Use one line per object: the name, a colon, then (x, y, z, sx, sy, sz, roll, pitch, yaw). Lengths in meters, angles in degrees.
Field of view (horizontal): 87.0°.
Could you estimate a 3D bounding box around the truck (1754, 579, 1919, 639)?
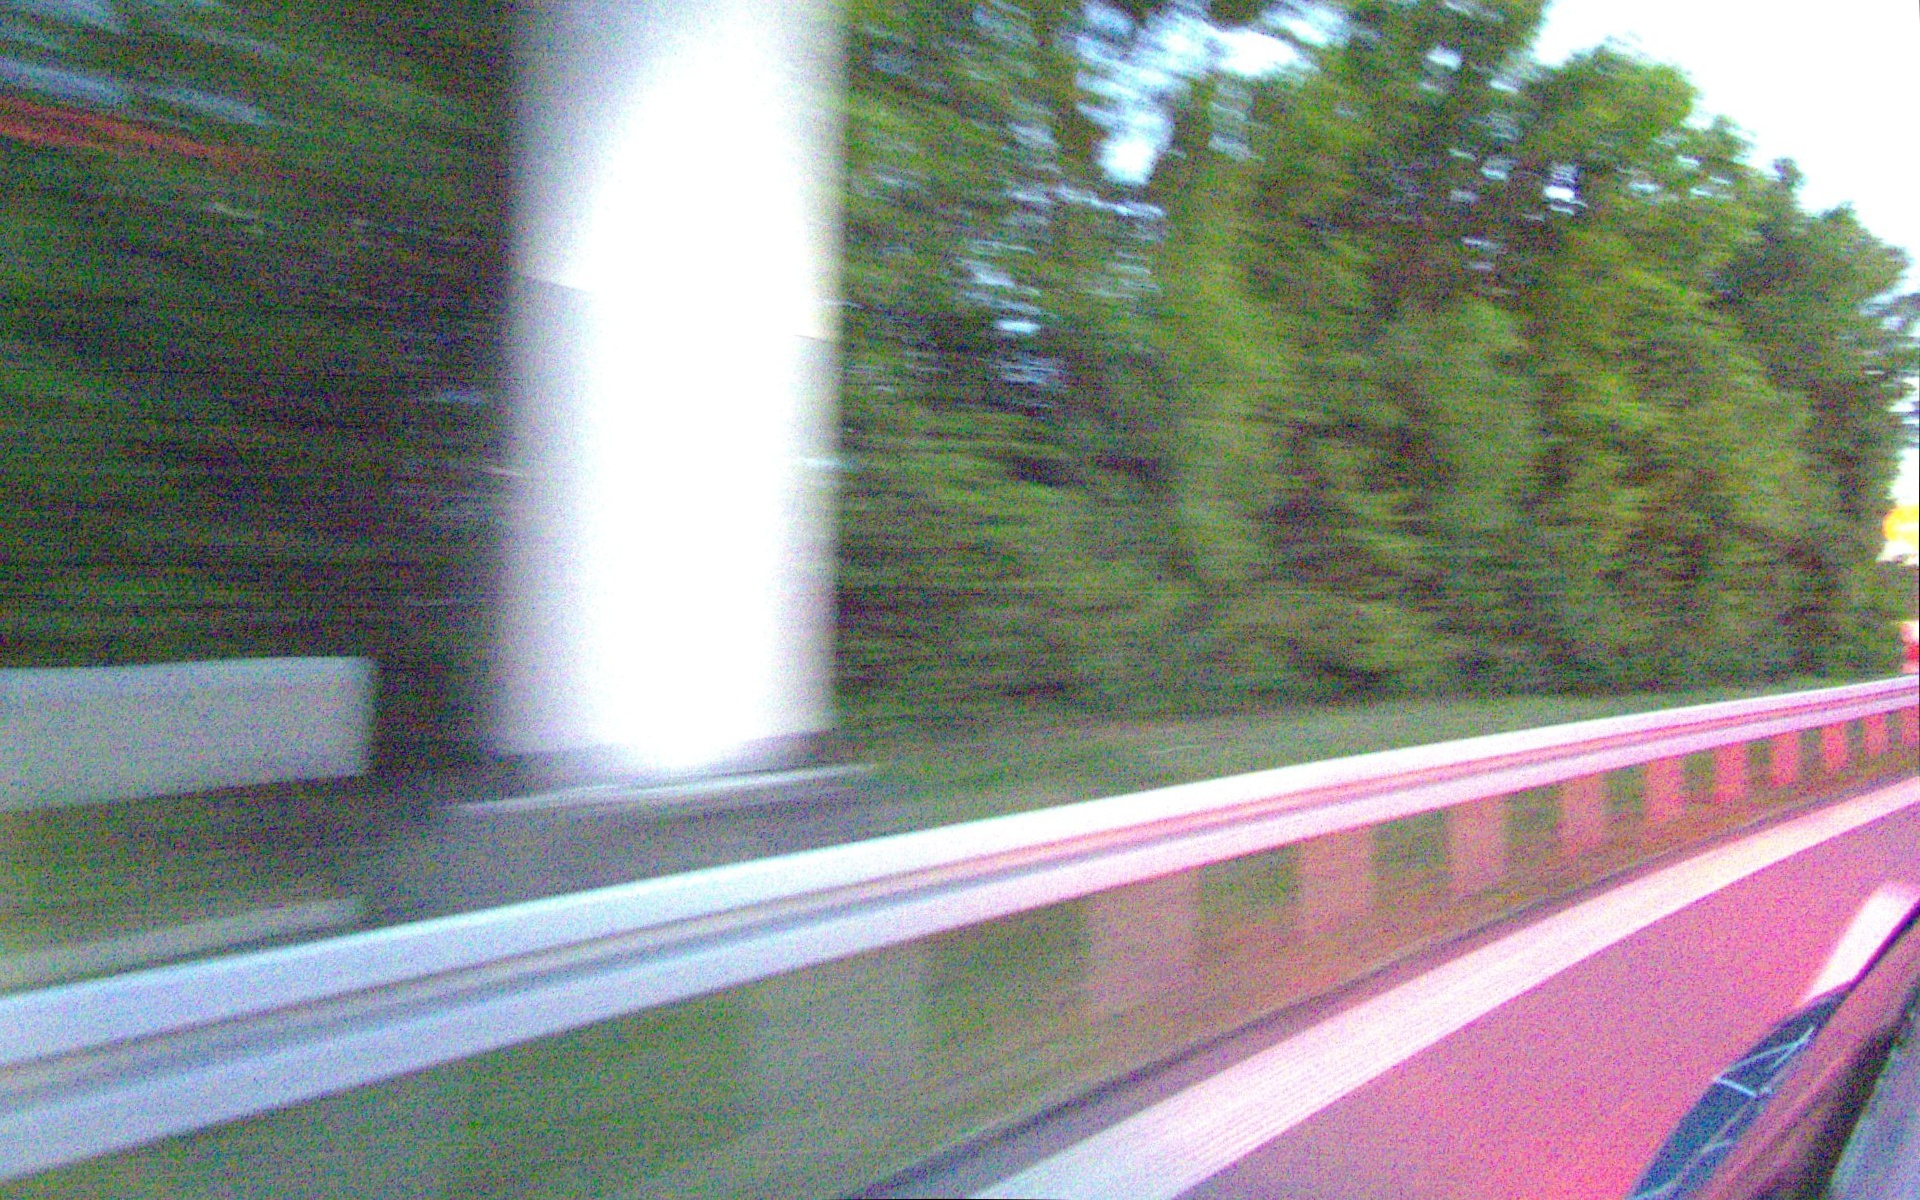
truck: (76.029, 0.618, 86.112, 2.474, 4.727, 17.032, 0, 1, -4)
